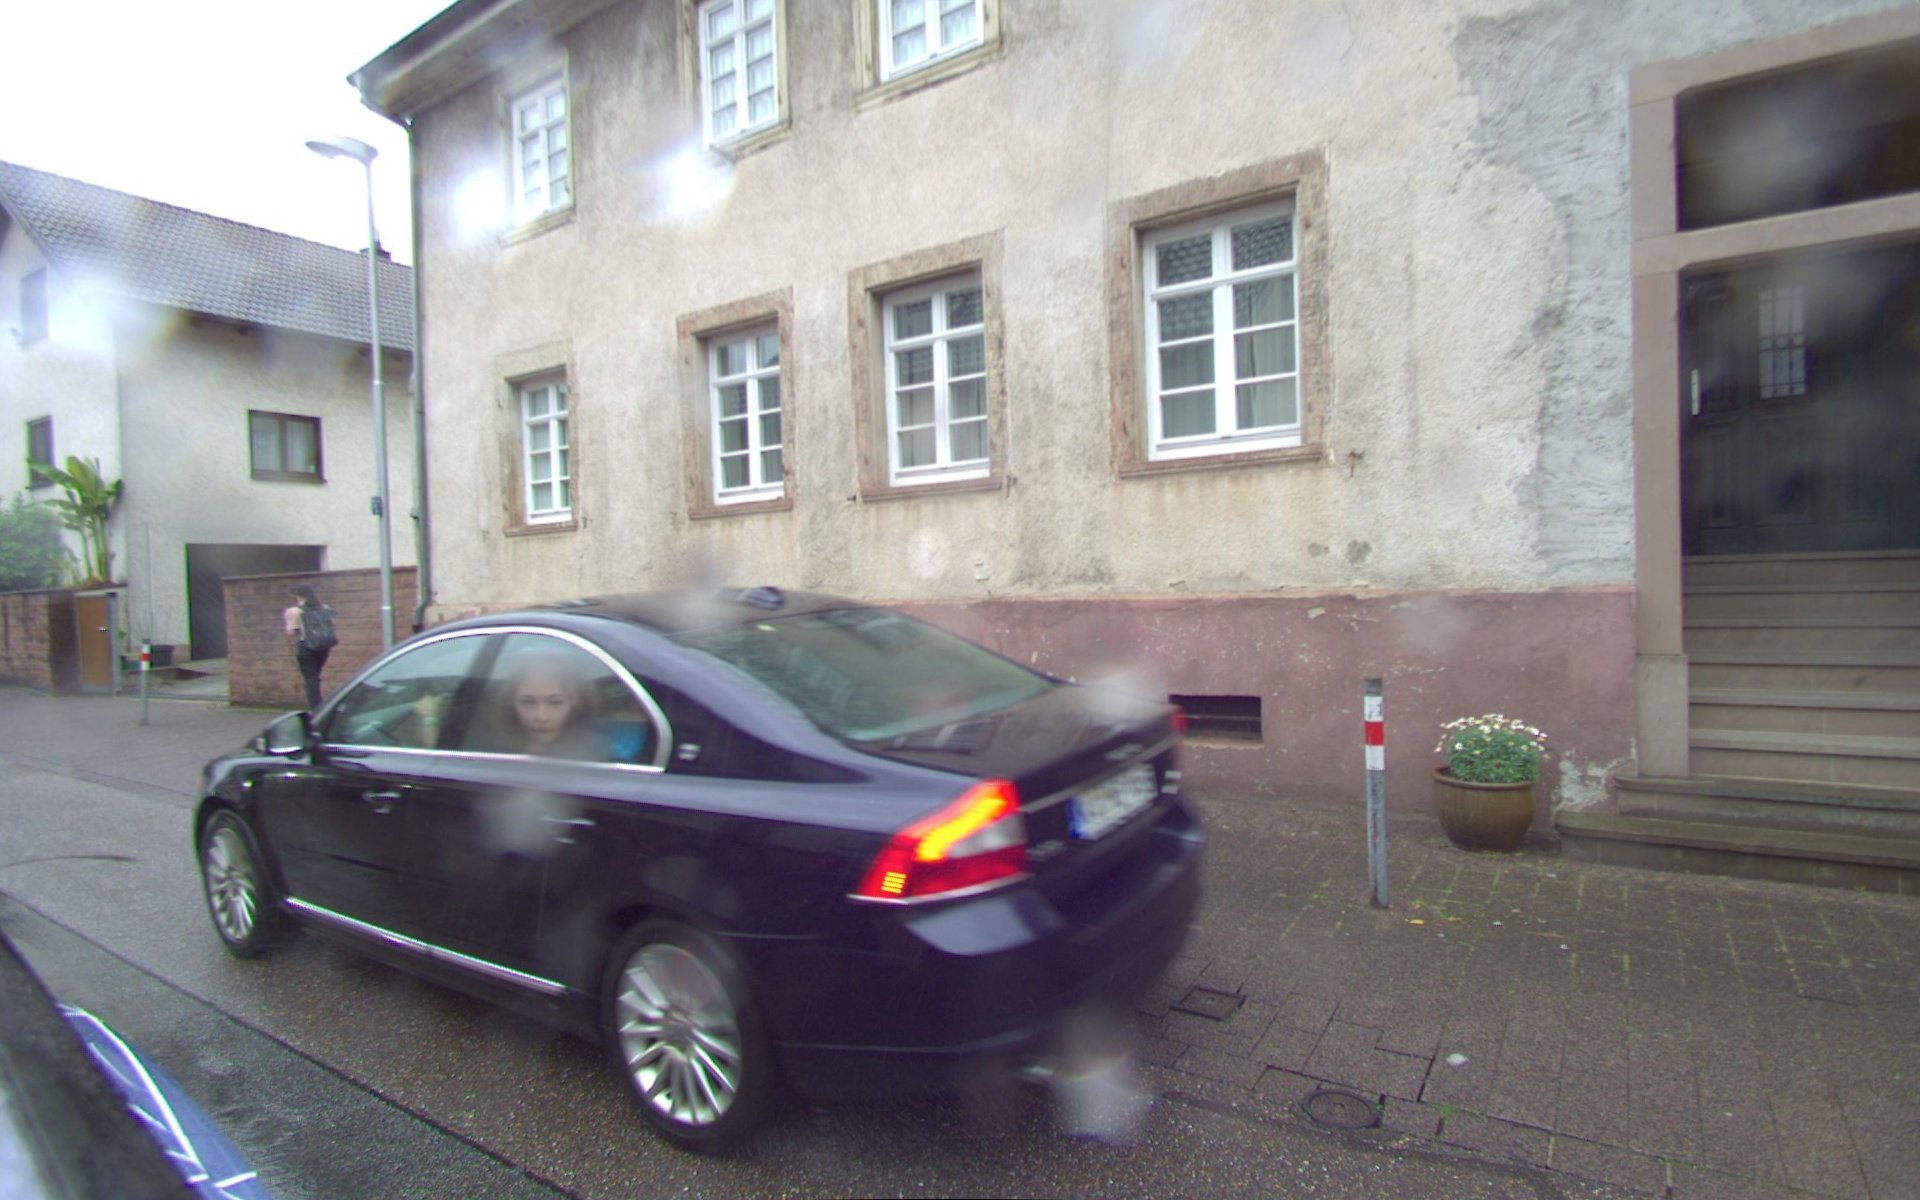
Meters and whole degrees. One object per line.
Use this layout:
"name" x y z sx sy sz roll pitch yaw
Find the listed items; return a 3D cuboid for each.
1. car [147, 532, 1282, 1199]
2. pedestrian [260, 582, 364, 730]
"car" -1.212 0.632 3.818 4.330 1.520 1.682 -1 1 34
"pedestrian" -7.165 0.601 11.200 0.829 1.549 0.568 -1 2 29
